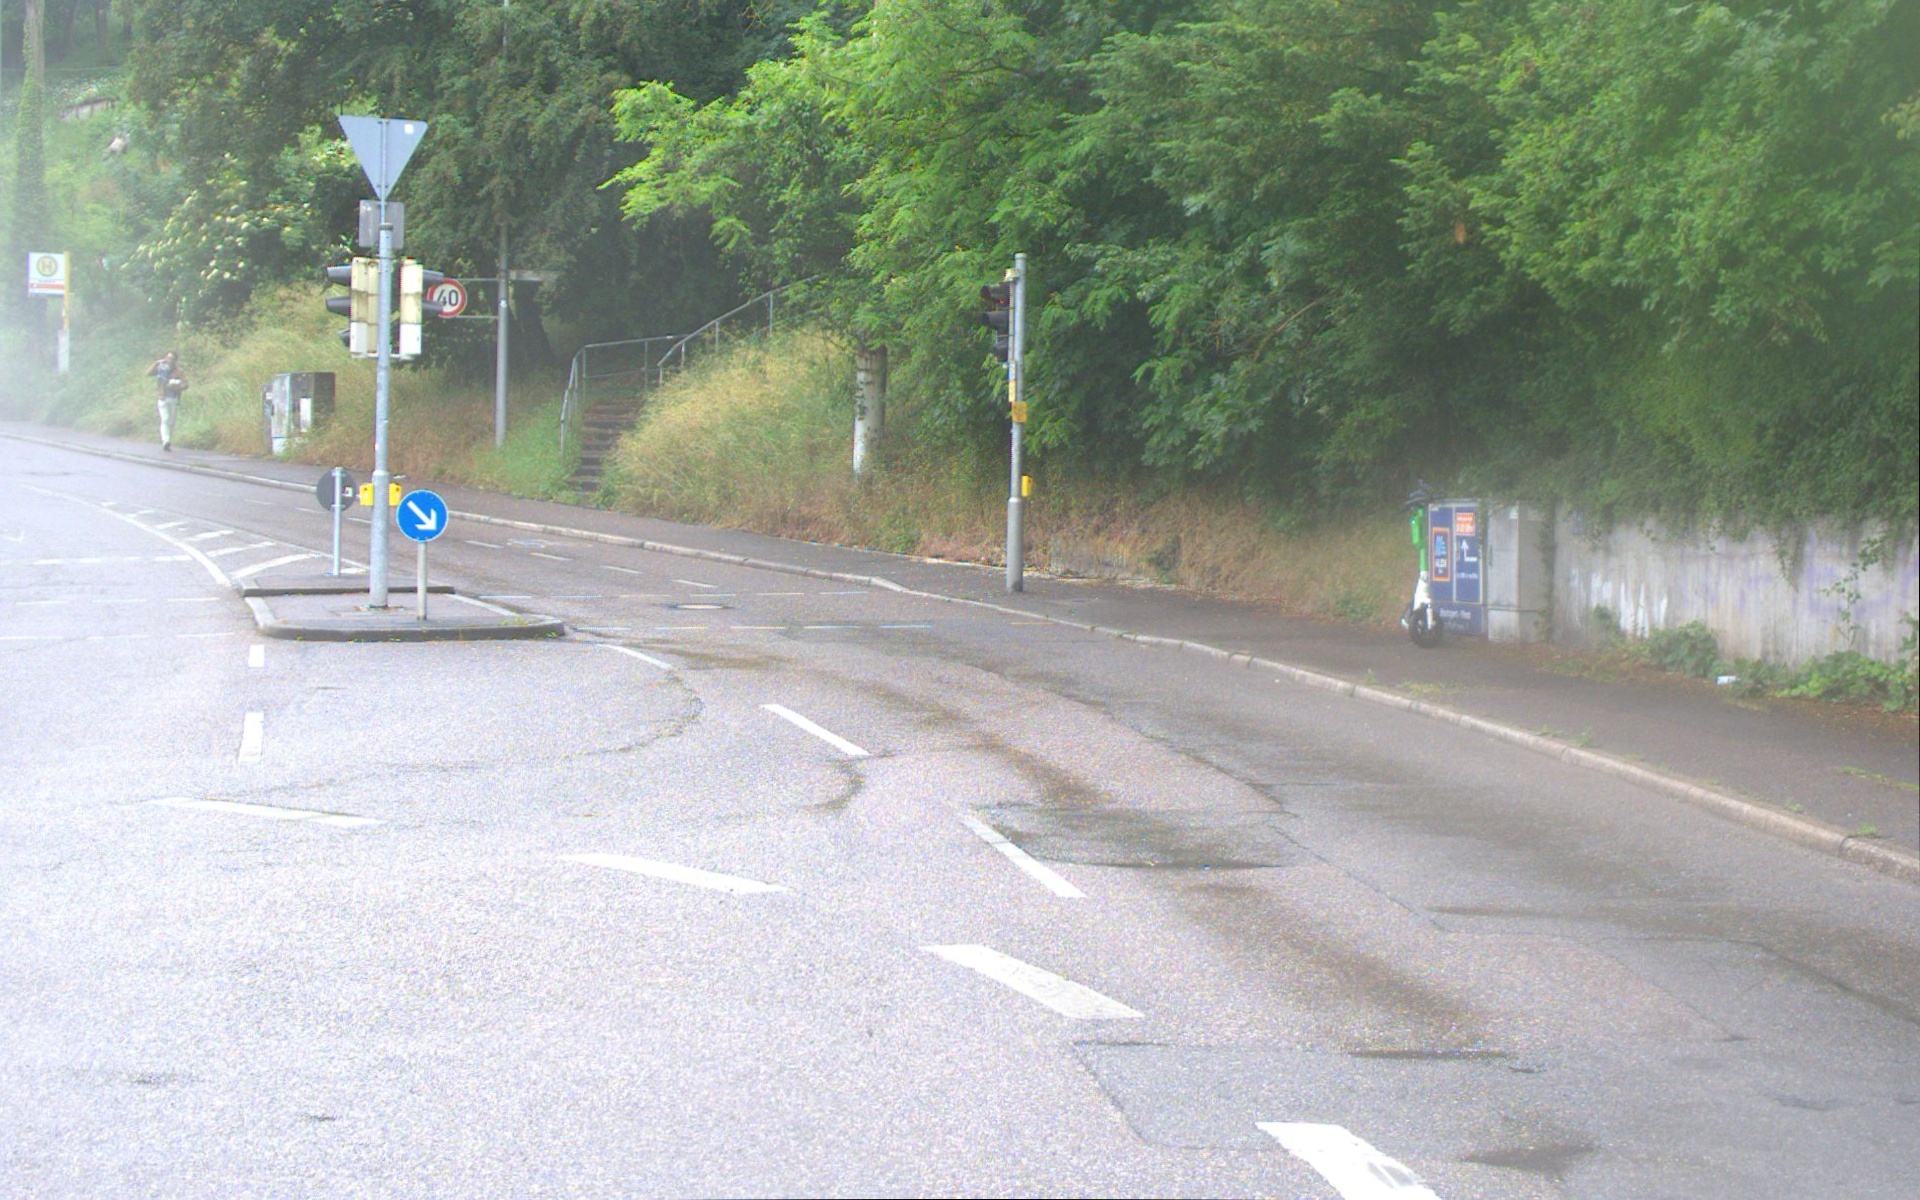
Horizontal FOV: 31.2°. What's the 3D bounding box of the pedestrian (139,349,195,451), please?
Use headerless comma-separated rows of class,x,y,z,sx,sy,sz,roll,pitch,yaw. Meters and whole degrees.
pedestrian,-13.890,-3.496,60.223,0.880,1.730,0.866,0,0,-17

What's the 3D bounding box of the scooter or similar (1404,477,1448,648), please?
scooter or similar,3.590,-0.300,26.497,0.322,1.275,0.751,0,4,7
